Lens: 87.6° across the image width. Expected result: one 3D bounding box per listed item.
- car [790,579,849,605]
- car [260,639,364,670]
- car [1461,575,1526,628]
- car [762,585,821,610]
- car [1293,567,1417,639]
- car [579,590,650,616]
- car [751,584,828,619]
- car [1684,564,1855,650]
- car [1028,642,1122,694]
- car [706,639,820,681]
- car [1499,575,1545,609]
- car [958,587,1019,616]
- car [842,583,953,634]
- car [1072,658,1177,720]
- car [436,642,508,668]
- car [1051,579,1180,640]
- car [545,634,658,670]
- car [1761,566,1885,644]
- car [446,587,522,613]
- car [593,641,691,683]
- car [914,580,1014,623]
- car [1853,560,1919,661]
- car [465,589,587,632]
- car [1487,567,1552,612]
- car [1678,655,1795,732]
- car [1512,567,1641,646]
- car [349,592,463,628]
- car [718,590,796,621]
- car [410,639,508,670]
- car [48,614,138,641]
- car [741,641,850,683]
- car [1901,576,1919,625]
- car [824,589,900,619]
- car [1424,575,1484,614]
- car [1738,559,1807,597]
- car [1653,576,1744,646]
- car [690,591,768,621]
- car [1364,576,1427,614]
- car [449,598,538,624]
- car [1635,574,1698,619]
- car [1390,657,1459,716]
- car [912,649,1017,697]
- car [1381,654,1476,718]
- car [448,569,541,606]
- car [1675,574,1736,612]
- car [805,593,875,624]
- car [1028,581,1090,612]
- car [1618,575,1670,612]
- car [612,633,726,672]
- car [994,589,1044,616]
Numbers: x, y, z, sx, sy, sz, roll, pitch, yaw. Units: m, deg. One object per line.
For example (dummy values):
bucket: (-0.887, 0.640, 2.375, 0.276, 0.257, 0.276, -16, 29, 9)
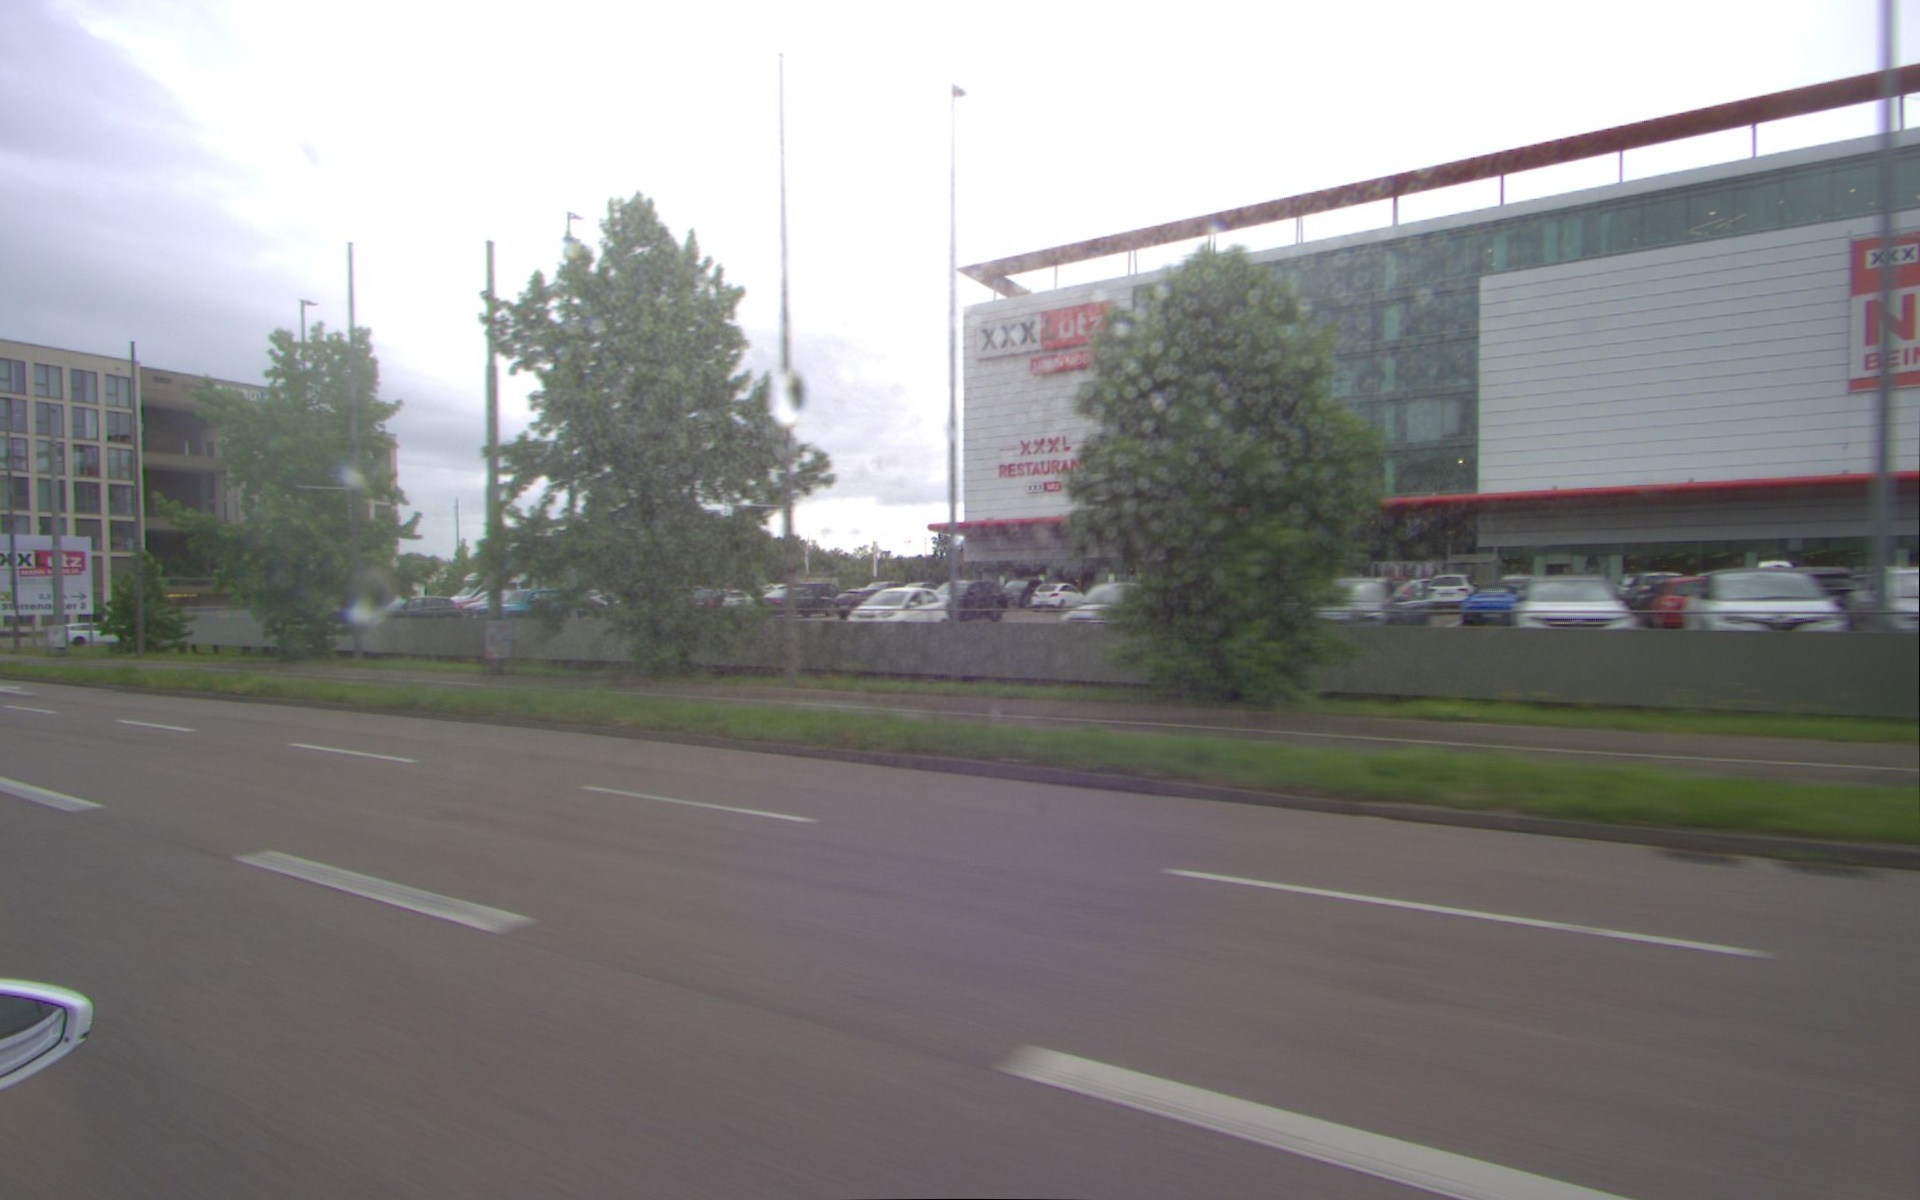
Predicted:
car: (-8.831, -0.514, 63.250, 1.580, 1.576, 3.620, 2, 1, 37)
car: (-29.789, 2.469, 46.140, 1.695, 1.192, 3.685, 1, 0, 32)
car: (17.814, 0.007, 33.357, 1.805, 1.645, 3.980, -1, 1, 30)
car: (-10.907, -0.160, 64.846, 1.678, 1.516, 3.620, 2, 1, 37)
car: (8.544, 0.058, 21.438, 1.783, 1.368, 4.145, 2, 1, 31)
car: (-21.221, 0.185, 61.634, 1.760, 1.528, 3.830, 1, 1, 36)
car: (-8.435, 0.094, 49.753, 1.678, 1.655, 3.620, 2, 1, 37)
car: (14.426, 0.100, 18.079, 1.808, 1.368, 4.047, 2, 1, 31)
car: (4.687, 2.661, 40.254, 1.973, 1.856, 4.356, -1, -1, 34)
car: (-5.975, 1.796, 30.751, 1.434, 1.146, 3.507, -1, -1, 32)
car: (26.753, -0.368, 47.620, 1.717, 1.575, 3.764, 2, 1, 32)
car: (1.644, 0.097, 56.872, 1.678, 1.537, 3.620, 2, 1, 37)
car: (-1.723, 0.228, 28.612, 1.581, 1.325, 3.511, 2, 1, 27)
car: (5.037, 2.629, 30.327, 1.738, 1.571, 4.047, -1, -1, 32)
car: (-28.951, 3.230, 59.429, 1.438, 1.303, 3.610, 2, 1, 34)
car: (3.912, 0.214, 24.694, 1.738, 1.368, 4.047, 2, 1, 31)
car: (-12.492, 1.784, 35.082, 1.583, 1.146, 3.507, -1, -1, 32)
car: (21.372, 0.127, 24.966, 1.863, 1.767, 4.300, 2, 0, 35)
car: (-27.419, 0.000, 57.773, 1.599, 1.439, 3.682, 1, 1, 36)
car: (-15.584, 3.016, 49.276, 1.973, 1.856, 4.356, -1, -1, 34)
car: (0.210, 0.032, 40.684, 1.972, 1.613, 4.355, 2, 1, 34)
car: (16.484, 0.184, 16.711, 1.739, 1.561, 4.044, 2, 1, 34)
car: (-16.494, 0.383, 38.231, 1.784, 1.545, 4.063, 1, 0, 29)
car: (23.421, -0.392, 41.862, 1.871, 1.772, 3.974, -1, -1, 36)
car: (17.022, 1.983, 22.120, 1.739, 1.368, 4.044, -1, -1, 34)
car: (11.951, 0.108, 19.647, 1.735, 1.368, 4.052, 2, 1, 26)
car: (-22.958, 0.399, 41.615, 1.695, 1.402, 3.866, 1, 0, 31)
car: (-10.478, 0.278, 51.905, 1.759, 1.528, 3.832, 1, 1, 35)
car: (-24.668, 2.665, 49.427, 1.739, 1.368, 4.046, -1, -1, 32)
car: (-58.799, 1.840, 67.988, 1.967, 1.775, 4.167, -1, -1, 24)
car: (-6.079, 2.261, 37.297, 1.739, 1.368, 4.044, -1, -1, 34)
car: (38.550, 0.003, 39.013, 1.813, 1.894, 3.983, -1, -1, 29)
car: (-4.620, 0.189, 47.502, 1.677, 1.374, 3.622, 2, 1, 35)
car: (21.148, -0.201, 42.833, 1.717, 1.608, 3.557, -1, -1, 37)
car: (35.710, -0.939, 44.084, 1.803, 1.575, 3.786, 2, 1, 31)
car: (19.489, 0.301, 26.556, 1.809, 1.685, 4.160, -1, -1, 35)
car: (-12.177, 0.293, 52.954, 1.760, 1.528, 3.830, 1, 1, 36)
car: (19.344, -0.204, 44.414, 1.719, 1.575, 3.779, 2, 1, 37)
car: (-25.545, 0.597, 54.952, 1.732, 1.333, 4.088, 2, 1, 41)
car: (27.644, -0.127, 39.243, 1.856, 1.632, 3.976, 2, 1, 35)
car: (15.444, 2.815, 33.190, 1.757, 1.644, 3.982, -1, -1, 29)
car: (0.220, 2.381, 33.517, 1.738, 1.368, 4.048, -1, -1, 31)
car: (12.170, 2.160, 25.889, 1.739, 1.368, 4.046, -1, -1, 32)
car: (-29.728, -0.782, 64.086, 2.136, 2.240, 4.995, 2, 1, 36)
car: (32.667, -0.314, 43.980, 1.804, 1.575, 3.785, 2, 1, 32)
car: (-6.307, 0.431, 52.858, 1.678, 1.576, 3.620, 2, 1, 37)
car: (5.324, -0.173, 53.567, 1.678, 1.576, 3.620, 2, 1, 37)
car: (30.045, -0.275, 44.066, 1.717, 1.575, 3.764, 2, 1, 32)
car: (-9.501, 1.684, 32.903, 1.494, 1.146, 3.507, -1, -1, 32)
car: (3.615, 0.164, 60.979, 1.674, 1.552, 3.629, 2, 1, 28)
